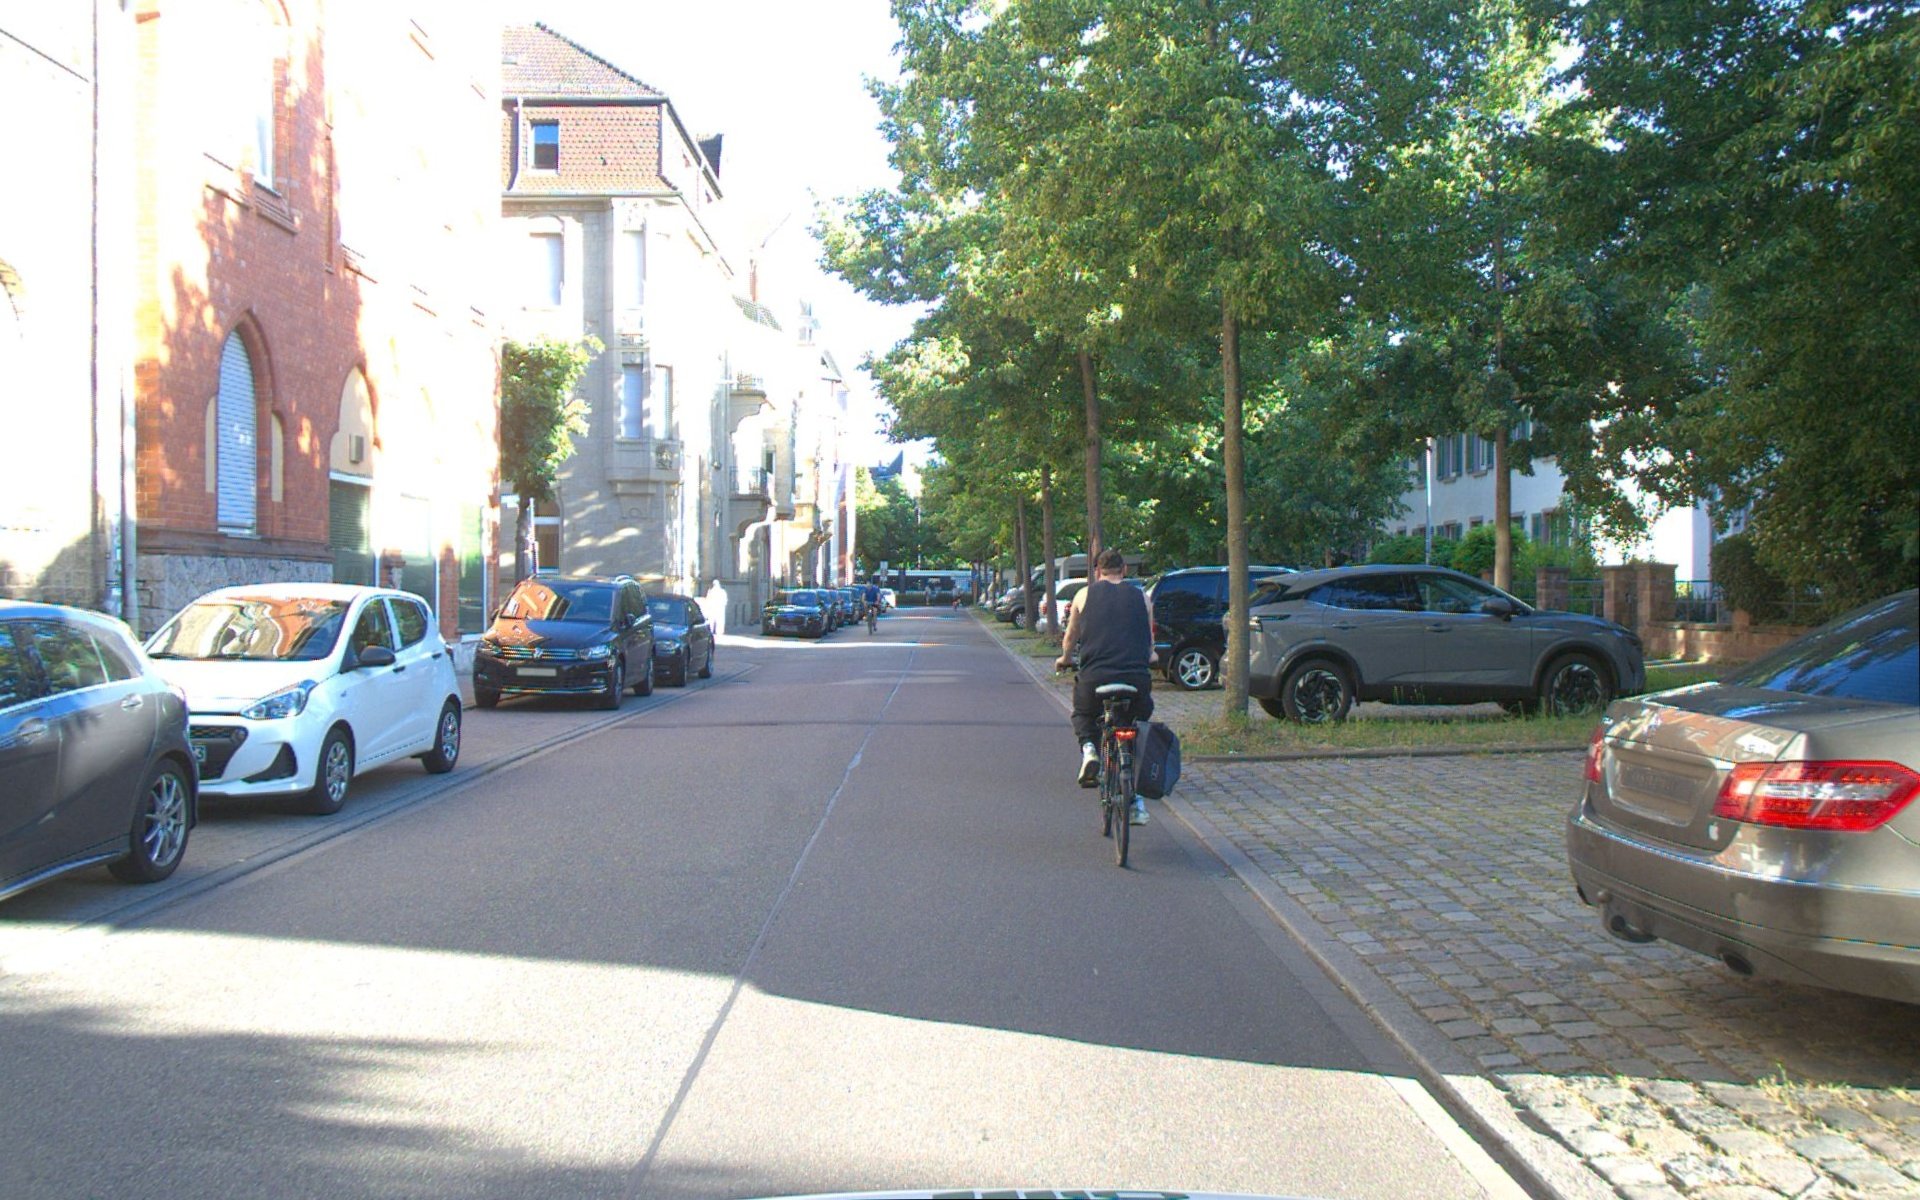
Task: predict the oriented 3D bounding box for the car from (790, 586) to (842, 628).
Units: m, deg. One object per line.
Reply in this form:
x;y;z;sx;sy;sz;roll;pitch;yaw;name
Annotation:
-5.184;0.261;59.759;1.662;1.479;4.026;0;0;-2;car

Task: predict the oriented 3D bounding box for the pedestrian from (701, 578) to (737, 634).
-7.111;0.165;48.754;0.870;1.604;1.053;-1;1;-1;pedestrian

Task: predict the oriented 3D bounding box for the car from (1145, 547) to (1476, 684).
5.137;0.215;24.698;4.487;1.706;1.907;-3;0;1;car

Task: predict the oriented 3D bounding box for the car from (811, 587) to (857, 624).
-5.511;0.214;72.681;1.641;1.455;4.550;2;1;0;car

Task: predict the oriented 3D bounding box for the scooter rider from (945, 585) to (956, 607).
-0.796;-0.327;138.563;0.854;1.873;0.670;1;-1;-5;scooter rider

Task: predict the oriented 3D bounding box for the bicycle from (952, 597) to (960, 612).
-0.289;0.302;118.726;0.488;1.022;1.474;1;1;-1;bicycle

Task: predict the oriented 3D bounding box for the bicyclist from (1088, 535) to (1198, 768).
1.344;0.364;12.287;0.675;1.655;0.998;1;0;-1;bicyclist

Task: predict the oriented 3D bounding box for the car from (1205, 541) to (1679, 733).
4.973;0.363;17.479;4.386;1.662;1.875;-3;0;-2;car

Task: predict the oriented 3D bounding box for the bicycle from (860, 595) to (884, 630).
-2.939;0.423;55.389;0.742;1.127;1.907;-1;0;-1;bicycle

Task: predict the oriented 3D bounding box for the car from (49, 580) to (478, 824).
-4.859;0.612;12.091;1.534;1.496;3.592;1;1;1;car

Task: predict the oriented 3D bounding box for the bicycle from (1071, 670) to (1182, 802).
1.210;0.977;12.342;0.620;0.813;1.832;-1;1;-1;bicycle

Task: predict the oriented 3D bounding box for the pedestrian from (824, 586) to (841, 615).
-7.714;0.028;100.372;0.919;1.773;0.735;1;-1;1;pedestrian

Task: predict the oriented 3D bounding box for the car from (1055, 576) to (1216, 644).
4.538;0.234;43.168;3.985;1.502;1.694;-3;1;0;car

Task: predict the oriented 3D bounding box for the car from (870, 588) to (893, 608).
-6.143;-0.172;130.313;1.551;1.399;4.131;2;1;0;car

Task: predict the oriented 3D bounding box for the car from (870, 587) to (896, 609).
-5.251;-0.162;112.967;1.551;1.367;4.131;2;1;0;car

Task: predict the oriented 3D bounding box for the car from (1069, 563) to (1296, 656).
4.723;0.191;35.420;4.452;1.662;1.810;-3;0;-7;car

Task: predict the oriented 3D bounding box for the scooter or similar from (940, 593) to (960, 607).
-0.818;0.023;138.553;1.568;1.167;0.677;1;-1;-6;scooter or similar

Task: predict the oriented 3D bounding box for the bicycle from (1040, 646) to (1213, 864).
0.916;0.835;9.599;0.722;1.072;1.955;2;-1;-2;bicycle

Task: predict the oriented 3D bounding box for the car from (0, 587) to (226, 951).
-4.779;0.698;6.933;1.643;1.468;4.110;1;1;-2;car

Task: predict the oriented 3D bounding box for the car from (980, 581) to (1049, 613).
3.270;-0.167;99.888;4.001;1.678;1.640;-3;0;-3;car

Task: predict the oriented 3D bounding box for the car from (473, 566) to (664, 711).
-5.054;0.460;21.912;1.636;1.710;4.348;1;0;-2;car

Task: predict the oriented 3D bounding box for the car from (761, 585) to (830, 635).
-5.266;0.313;53.389;1.774;1.451;4.897;2;0;-1;car

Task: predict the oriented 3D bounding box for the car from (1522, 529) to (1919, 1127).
4.571;0.467;5.443;4.741;1.566;1.893;-3;0;-3;car

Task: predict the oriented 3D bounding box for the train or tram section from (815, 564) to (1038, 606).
-3.324;-1.503;172.869;23.482;3.773;4.255;1;-1;-23;train or tram section

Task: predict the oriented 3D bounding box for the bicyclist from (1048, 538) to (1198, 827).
0.929;0.461;9.603;0.715;1.575;0.884;2;-1;-2;bicyclist

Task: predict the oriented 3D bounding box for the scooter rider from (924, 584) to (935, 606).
-2.618;-0.395;141.793;0.854;1.873;0.670;1;-1;-5;scooter rider

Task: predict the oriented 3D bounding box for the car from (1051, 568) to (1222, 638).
4.837;0.077;45.820;4.524;1.739;1.833;-2;0;1;car

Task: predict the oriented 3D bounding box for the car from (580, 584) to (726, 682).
-4.998;0.506;27.449;1.602;1.435;4.332;2;0;0;car

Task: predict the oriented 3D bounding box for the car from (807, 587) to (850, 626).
-5.325;0.231;67.191;1.596;1.478;3.836;1;1;-3;car

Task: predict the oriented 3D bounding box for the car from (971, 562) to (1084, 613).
4.333;-0.797;107.004;7.005;3.030;2.463;-2;0;-3;car

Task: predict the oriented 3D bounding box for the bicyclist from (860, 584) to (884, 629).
-2.949;0.216;55.436;0.744;1.479;0.948;-1;-1;-1;bicyclist

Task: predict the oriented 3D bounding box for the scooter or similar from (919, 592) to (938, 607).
-2.722;-0.044;141.780;1.568;1.167;0.677;1;-1;-6;scooter or similar

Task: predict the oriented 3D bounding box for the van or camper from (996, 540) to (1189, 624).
4.928;-0.678;62.276;7.000;2.693;2.465;-3;0;1;van or camper
